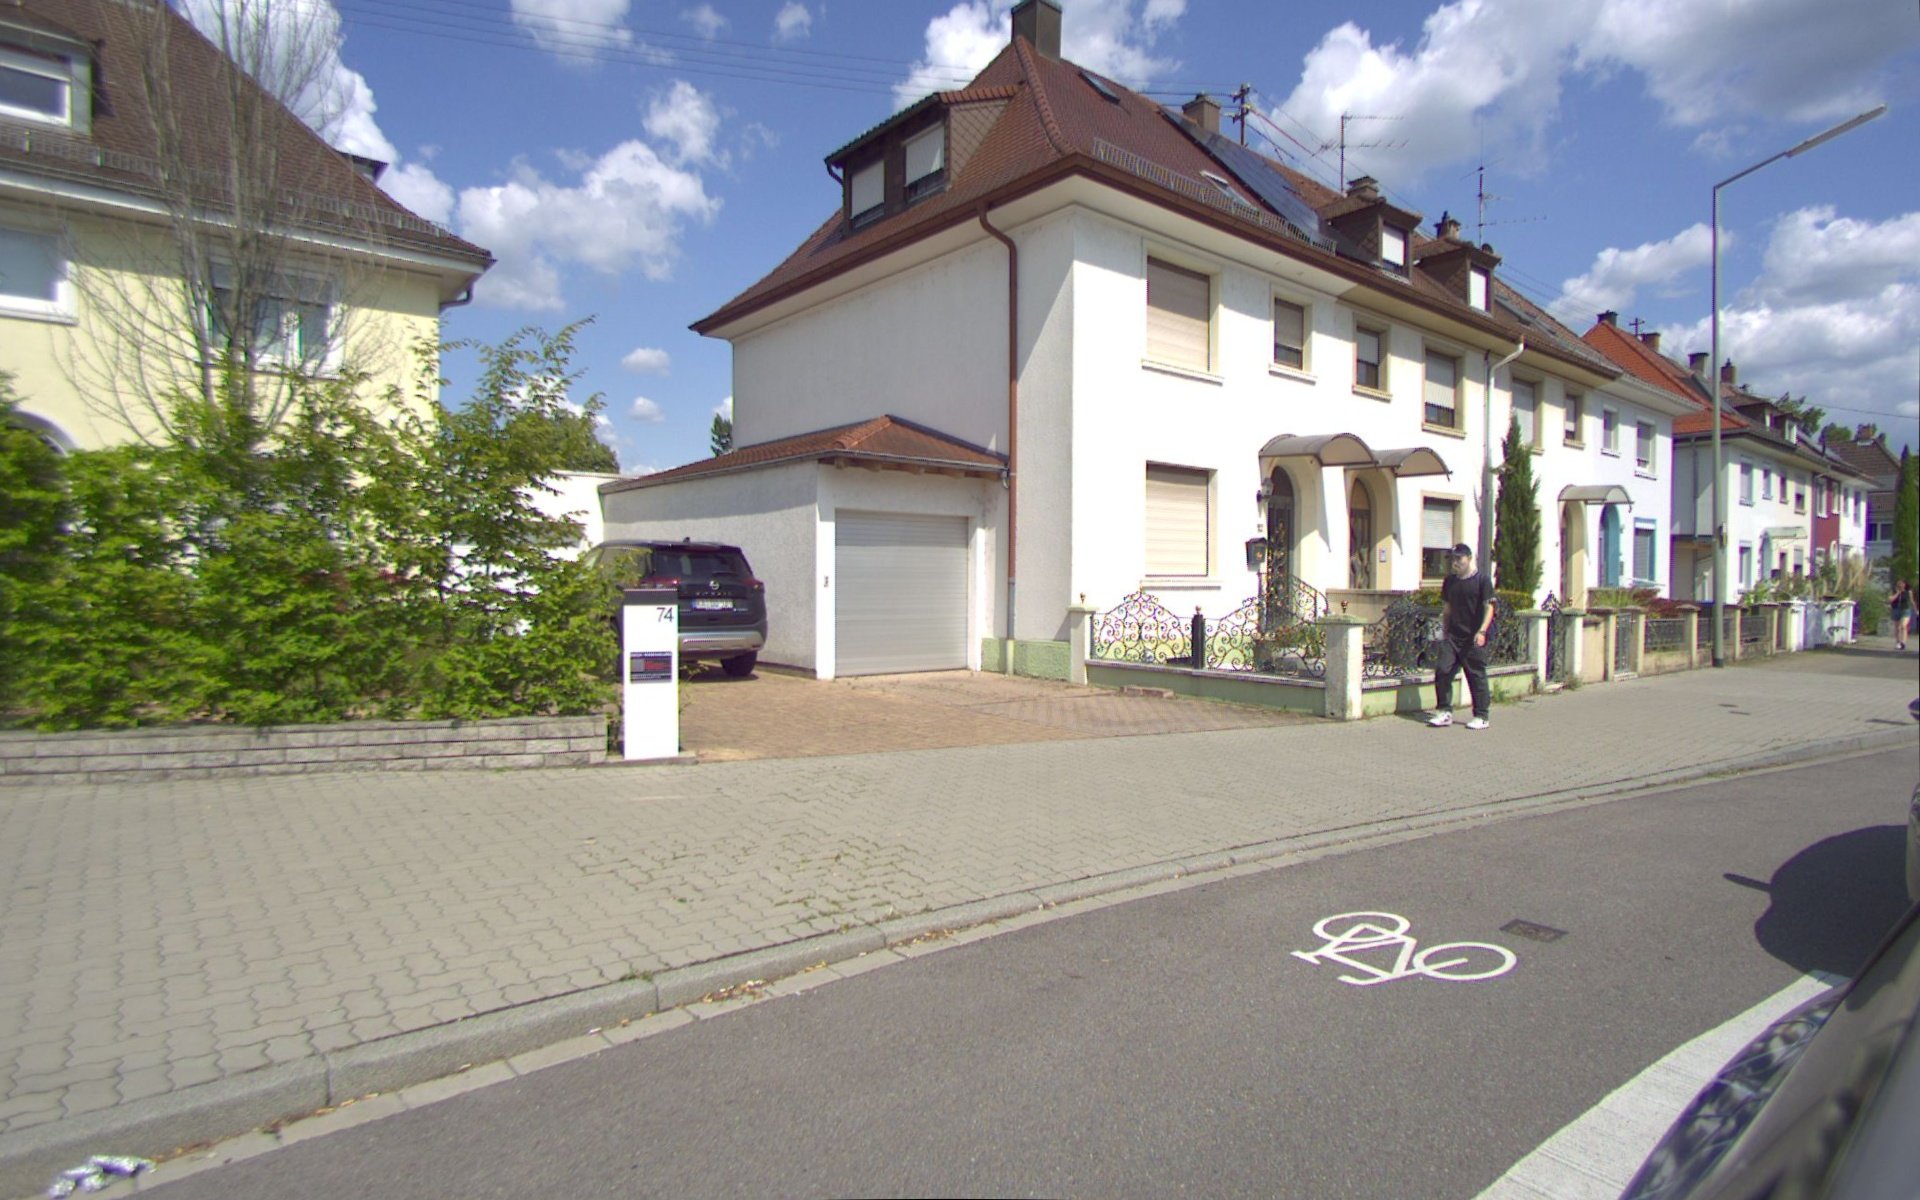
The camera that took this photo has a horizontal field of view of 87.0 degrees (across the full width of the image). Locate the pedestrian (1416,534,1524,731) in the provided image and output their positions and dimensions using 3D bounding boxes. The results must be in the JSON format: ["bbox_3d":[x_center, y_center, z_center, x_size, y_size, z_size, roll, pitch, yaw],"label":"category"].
[{"bbox_3d":[4.905,0.285,9.727,0.921,1.790,0.592,0,1,-41],"label":"pedestrian"}]

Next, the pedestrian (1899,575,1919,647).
[{"bbox_3d":[23.075,0.255,24.414,0.607,1.732,0.519,0,1,-39],"label":"pedestrian"}]

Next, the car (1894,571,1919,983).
[{"bbox_3d":[5.719,0.648,4.618,4.607,1.492,1.764,0,1,-43],"label":"car"}]

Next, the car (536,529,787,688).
[{"bbox_3d":[-4.011,0.045,13.184,1.833,1.729,3.998,0,1,-37],"label":"car"}]
